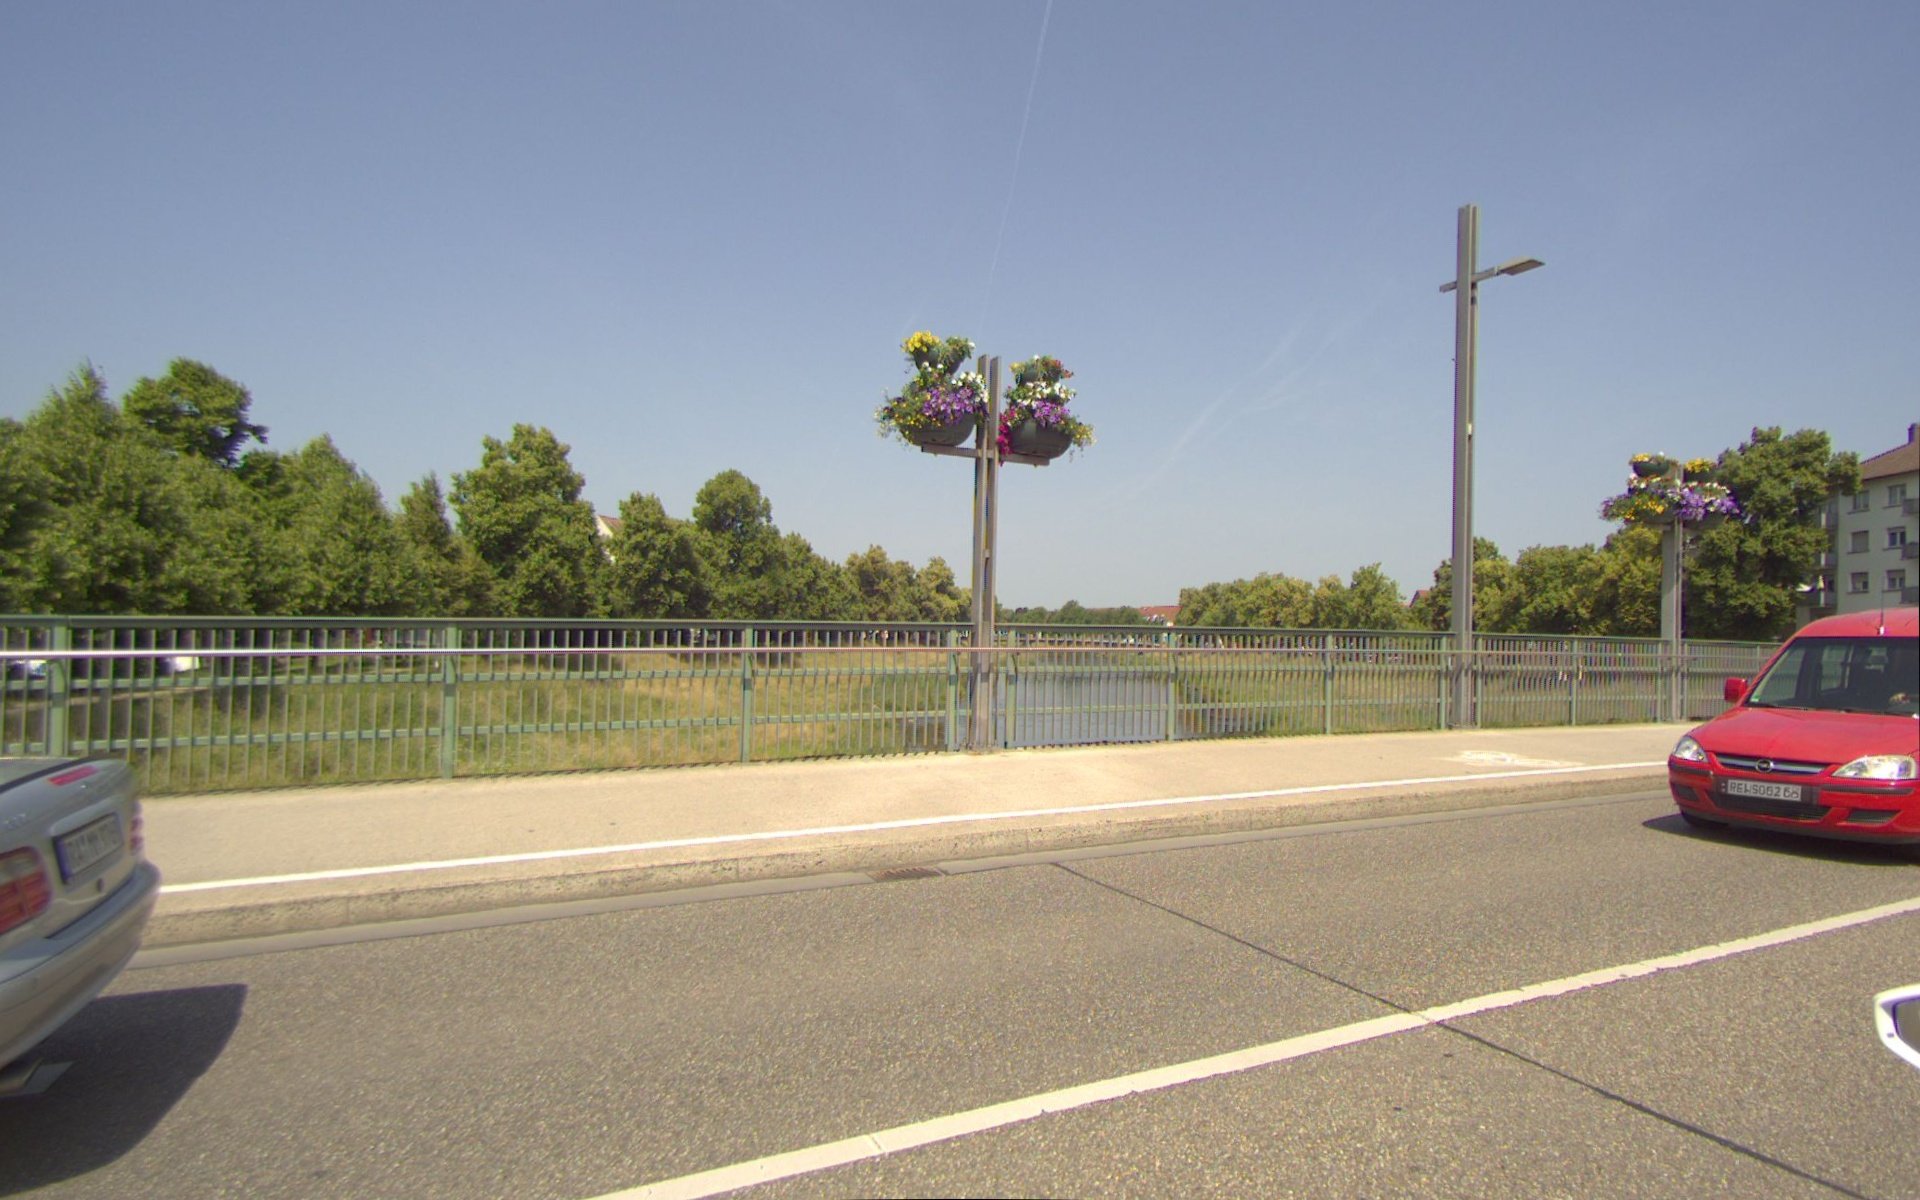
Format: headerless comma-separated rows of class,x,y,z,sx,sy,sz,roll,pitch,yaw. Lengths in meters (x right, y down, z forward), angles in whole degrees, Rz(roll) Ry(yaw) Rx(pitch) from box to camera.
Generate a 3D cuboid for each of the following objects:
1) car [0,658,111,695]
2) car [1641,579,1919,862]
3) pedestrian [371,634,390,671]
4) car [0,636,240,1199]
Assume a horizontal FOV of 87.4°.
car,-44.778,3.750,49.669,3.953,1.671,1.985,1,-3,-30
car,7.600,0.878,8.088,4.122,1.800,1.730,3,-3,-27
pedestrian,-33.131,2.991,57.413,0.873,2.040,0.720,2,0,-30
car,-4.386,0.802,2.140,4.399,1.376,1.692,0,-3,-28
